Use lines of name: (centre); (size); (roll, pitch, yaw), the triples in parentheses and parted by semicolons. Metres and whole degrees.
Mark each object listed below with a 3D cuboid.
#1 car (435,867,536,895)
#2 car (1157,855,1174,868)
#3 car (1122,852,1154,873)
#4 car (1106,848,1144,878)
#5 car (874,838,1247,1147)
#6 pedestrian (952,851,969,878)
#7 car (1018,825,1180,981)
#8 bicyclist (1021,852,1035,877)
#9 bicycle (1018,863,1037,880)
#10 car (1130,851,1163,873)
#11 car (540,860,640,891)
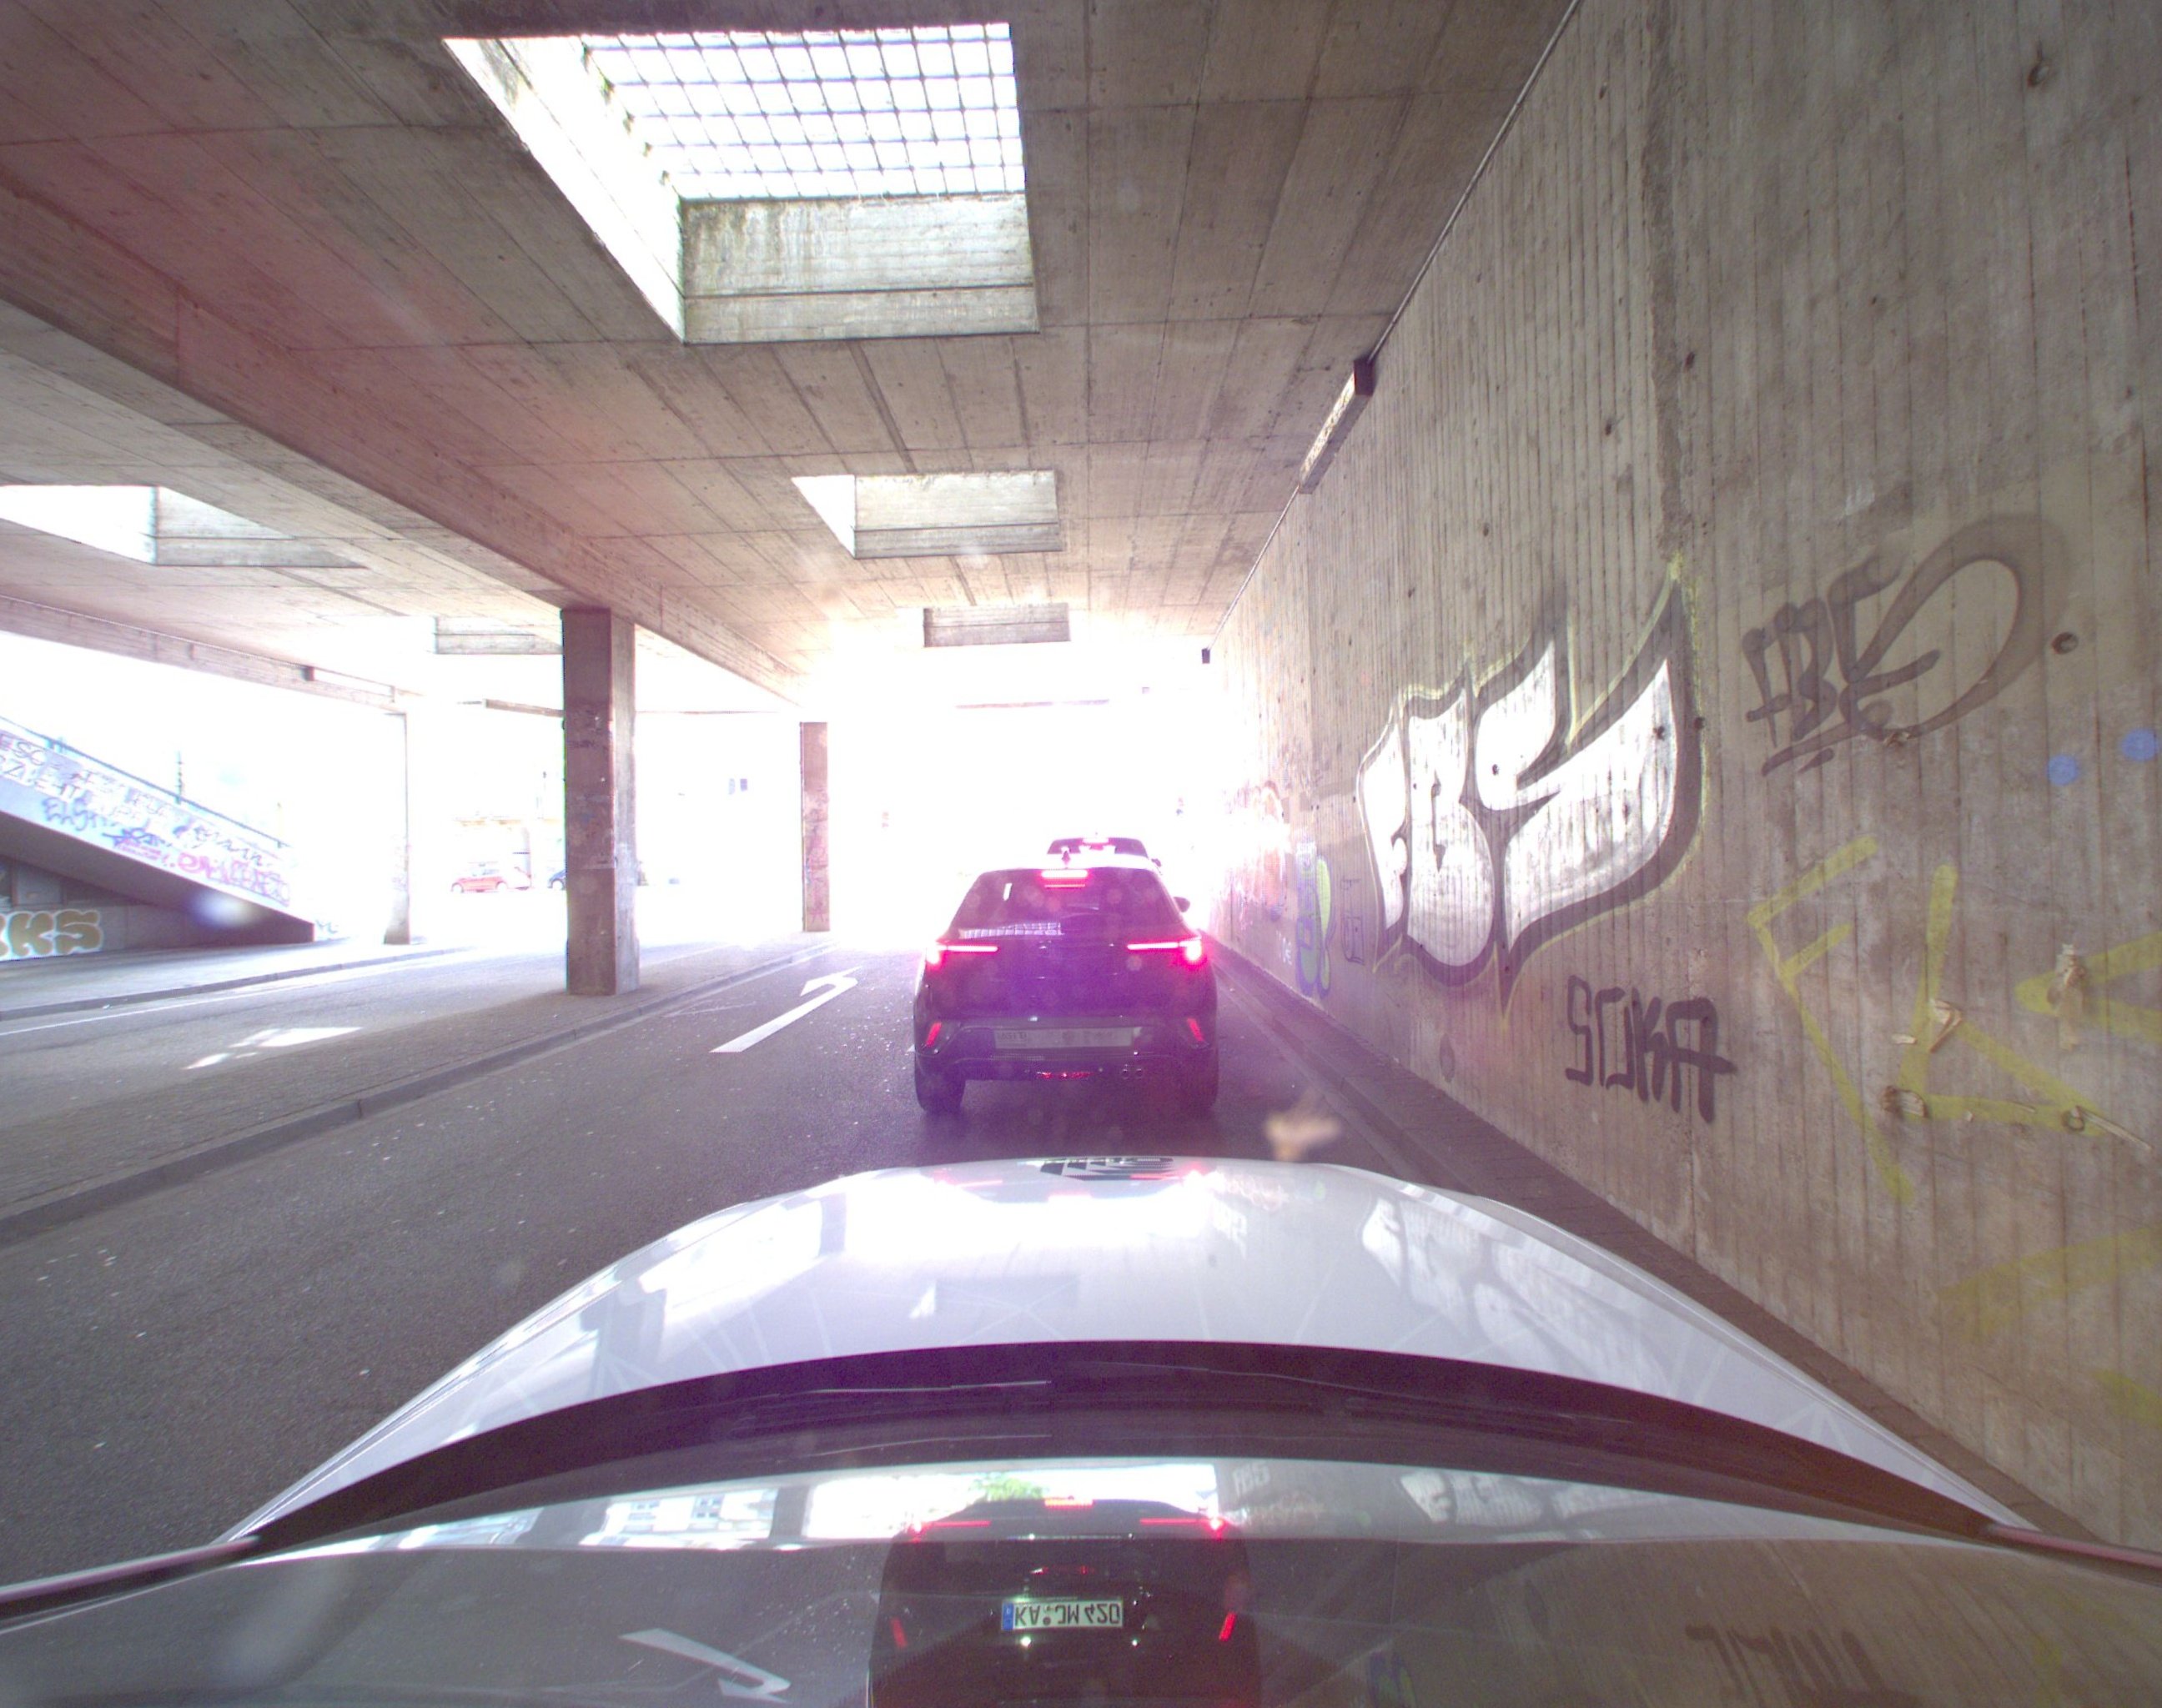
car: (-33.009, 1.486, 45.225); (3.970, 1.374, 2.192); (-2, 0, 3)
car: (11.271, 0.996, 108.226); (1.981, 1.662, 4.012); (-1, -1, 11)
car: (4.409, 0.645, 62.238); (1.955, 1.497, 3.908); (-2, -2, 11)
car: (2.411, 0.505, 44.253); (1.959, 1.497, 3.900); (-2, -2, 4)
car: (-0.045, 0.715, 6.174); (1.875, 1.538, 3.966); (-2, 0, 2)
pedestrian: (-9.422, 0.823, 63.578); (0.986, 2.013, 1.091); (-2, 0, 10)
car: (0.288, 0.597, 11.994); (1.938, 1.860, 3.966); (-2, 0, 2)
bicyclist: (-3.376, 0.652, 51.765); (0.724, 1.581, 0.817); (-1, -1, 11)
bicycle: (-3.386, 1.110, 51.730); (0.727, 1.067, 1.694); (-1, -1, 11)
car: (5.591, 0.689, 69.023); (2.206, 1.719, 4.474); (-2, -2, 12)
car: (-27.205, 1.194, 45.226); (4.114, 1.550, 2.268); (-2, 0, 1)
